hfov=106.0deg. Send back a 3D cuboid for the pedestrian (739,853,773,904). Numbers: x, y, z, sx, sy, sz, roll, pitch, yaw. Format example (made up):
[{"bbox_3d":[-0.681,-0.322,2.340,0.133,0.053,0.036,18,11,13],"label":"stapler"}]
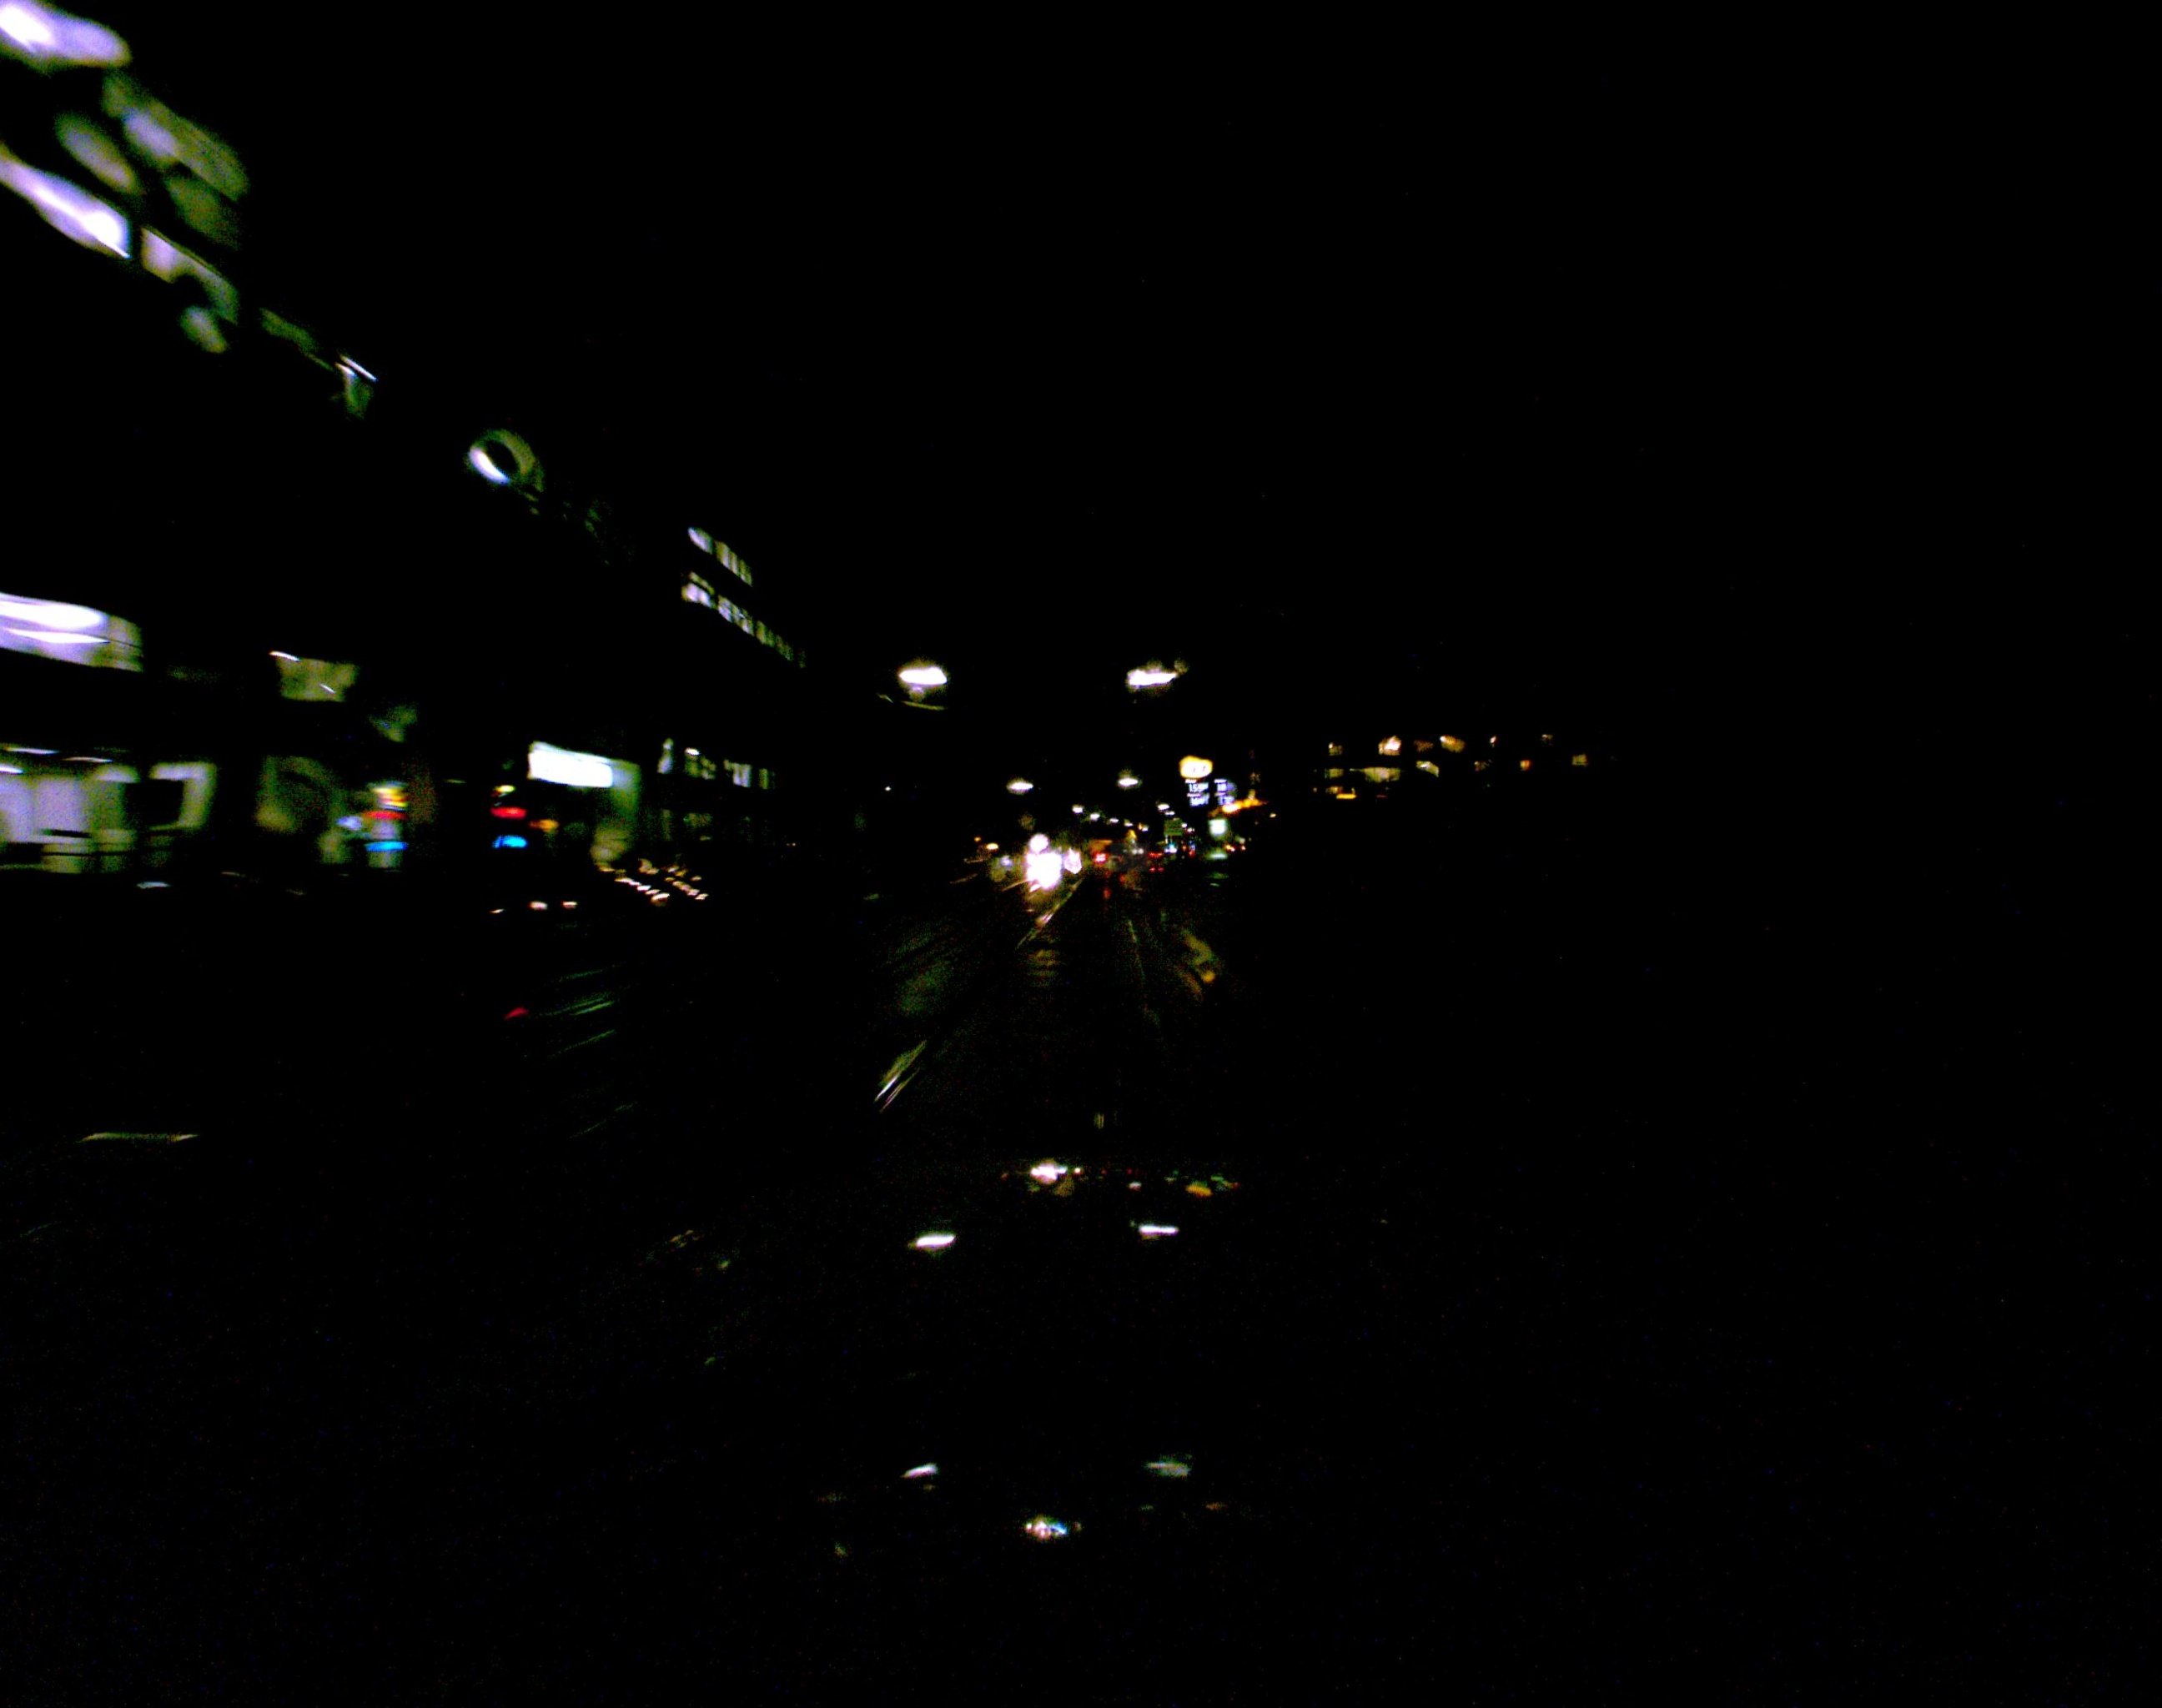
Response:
[{"bbox_3d":[-11.006,0.808,27.606,0.783,1.686,0.883,-1,-1,1],"label":"pedestrian"}]

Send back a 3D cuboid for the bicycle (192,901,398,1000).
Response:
[{"bbox_3d":[-9.291,1.127,9.667,1.847,1.077,0.628,-1,-1,1],"label":"bicycle"}]

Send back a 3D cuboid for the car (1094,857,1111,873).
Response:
[{"bbox_3d":[2.518,1.267,97.348,1.986,1.816,4.000,-1,-1,1],"label":"car"}]

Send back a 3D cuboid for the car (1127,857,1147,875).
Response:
[{"bbox_3d":[5.741,1.249,83.732,2.007,1.815,4.004,-1,-1,4],"label":"car"}]

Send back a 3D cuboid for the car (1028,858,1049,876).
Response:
[{"bbox_3d":[-4.193,1.285,80.943,1.988,1.724,4.073,-1,-1,-2],"label":"car"}]

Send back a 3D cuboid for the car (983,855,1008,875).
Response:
[{"bbox_3d":[-9.131,1.154,87.219,1.985,2.014,4.003,-1,-1,3],"label":"car"}]

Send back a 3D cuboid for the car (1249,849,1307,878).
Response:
[{"bbox_3d":[12.142,0.596,49.994,2.004,1.700,4.148,-1,-1,37],"label":"car"}]

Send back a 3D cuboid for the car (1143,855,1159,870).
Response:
[{"bbox_3d":[9.874,1.194,115.725,1.986,2.014,4.001,-1,-1,1],"label":"car"}]

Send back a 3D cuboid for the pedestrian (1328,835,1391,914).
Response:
[{"bbox_3d":[6.189,0.455,18.149,0.937,1.664,0.993,-3,0,-3],"label":"pedestrian"}]

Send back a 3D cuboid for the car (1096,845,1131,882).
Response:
[{"bbox_3d":[2.118,0.647,54.714,2.236,2.361,4.394,-1,-1,1],"label":"car"}]

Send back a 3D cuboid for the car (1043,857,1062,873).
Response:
[{"bbox_3d":[-3.558,1.310,102.208,2.313,1.932,4.960,-1,-1,-2],"label":"car"}]

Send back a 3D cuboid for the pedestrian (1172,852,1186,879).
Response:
[{"bbox_3d":[6.500,0.784,53.904,0.771,1.776,0.697,-1,-1,19],"label":"pedestrian"}]
